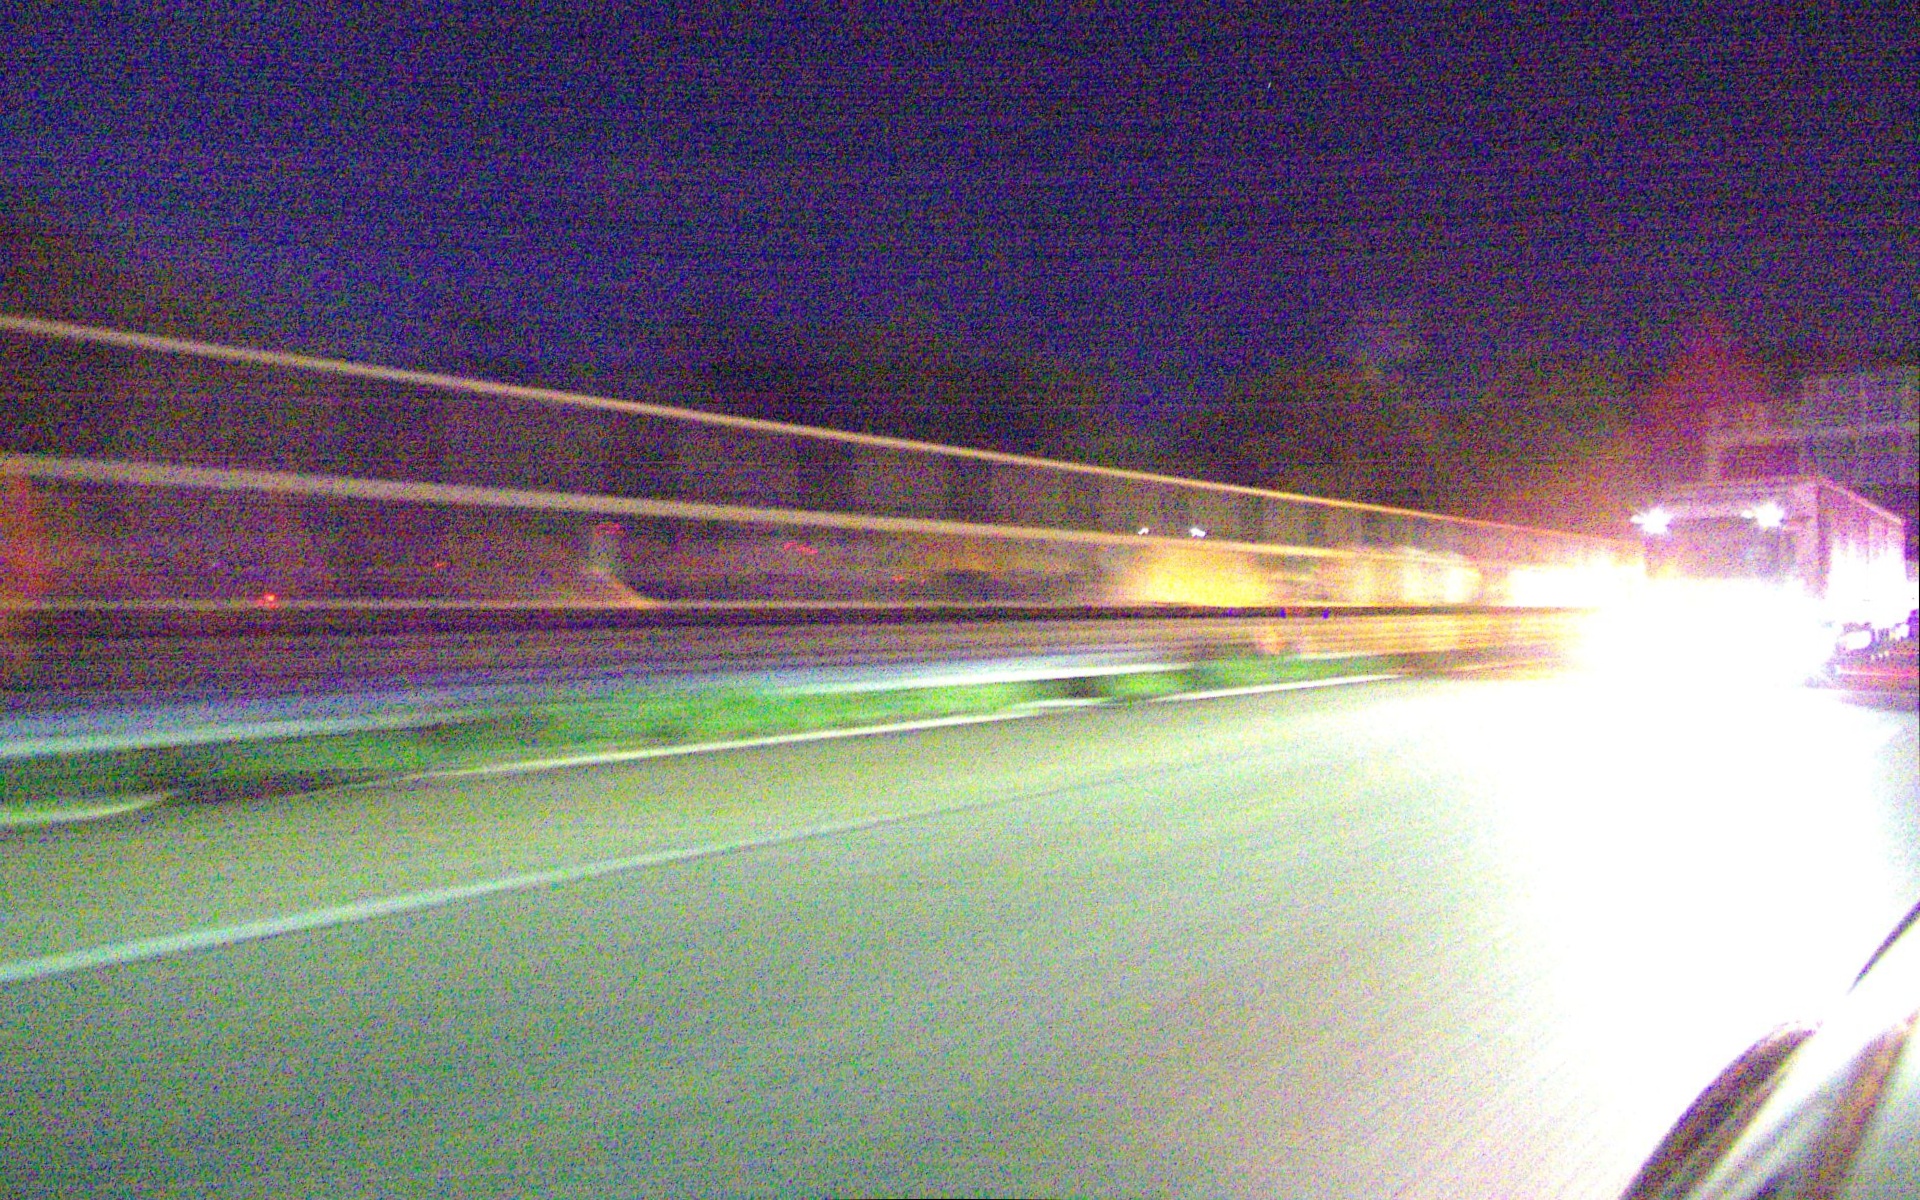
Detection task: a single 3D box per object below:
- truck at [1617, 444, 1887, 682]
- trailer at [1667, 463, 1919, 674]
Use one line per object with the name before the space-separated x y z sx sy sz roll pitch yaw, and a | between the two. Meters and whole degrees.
truck | 16.648 -0.732 21.052 7.379 4.126 2.868 0 3 -41
trailer | 21.257 -0.706 25.085 12.974 4.116 2.860 0 3 -41
